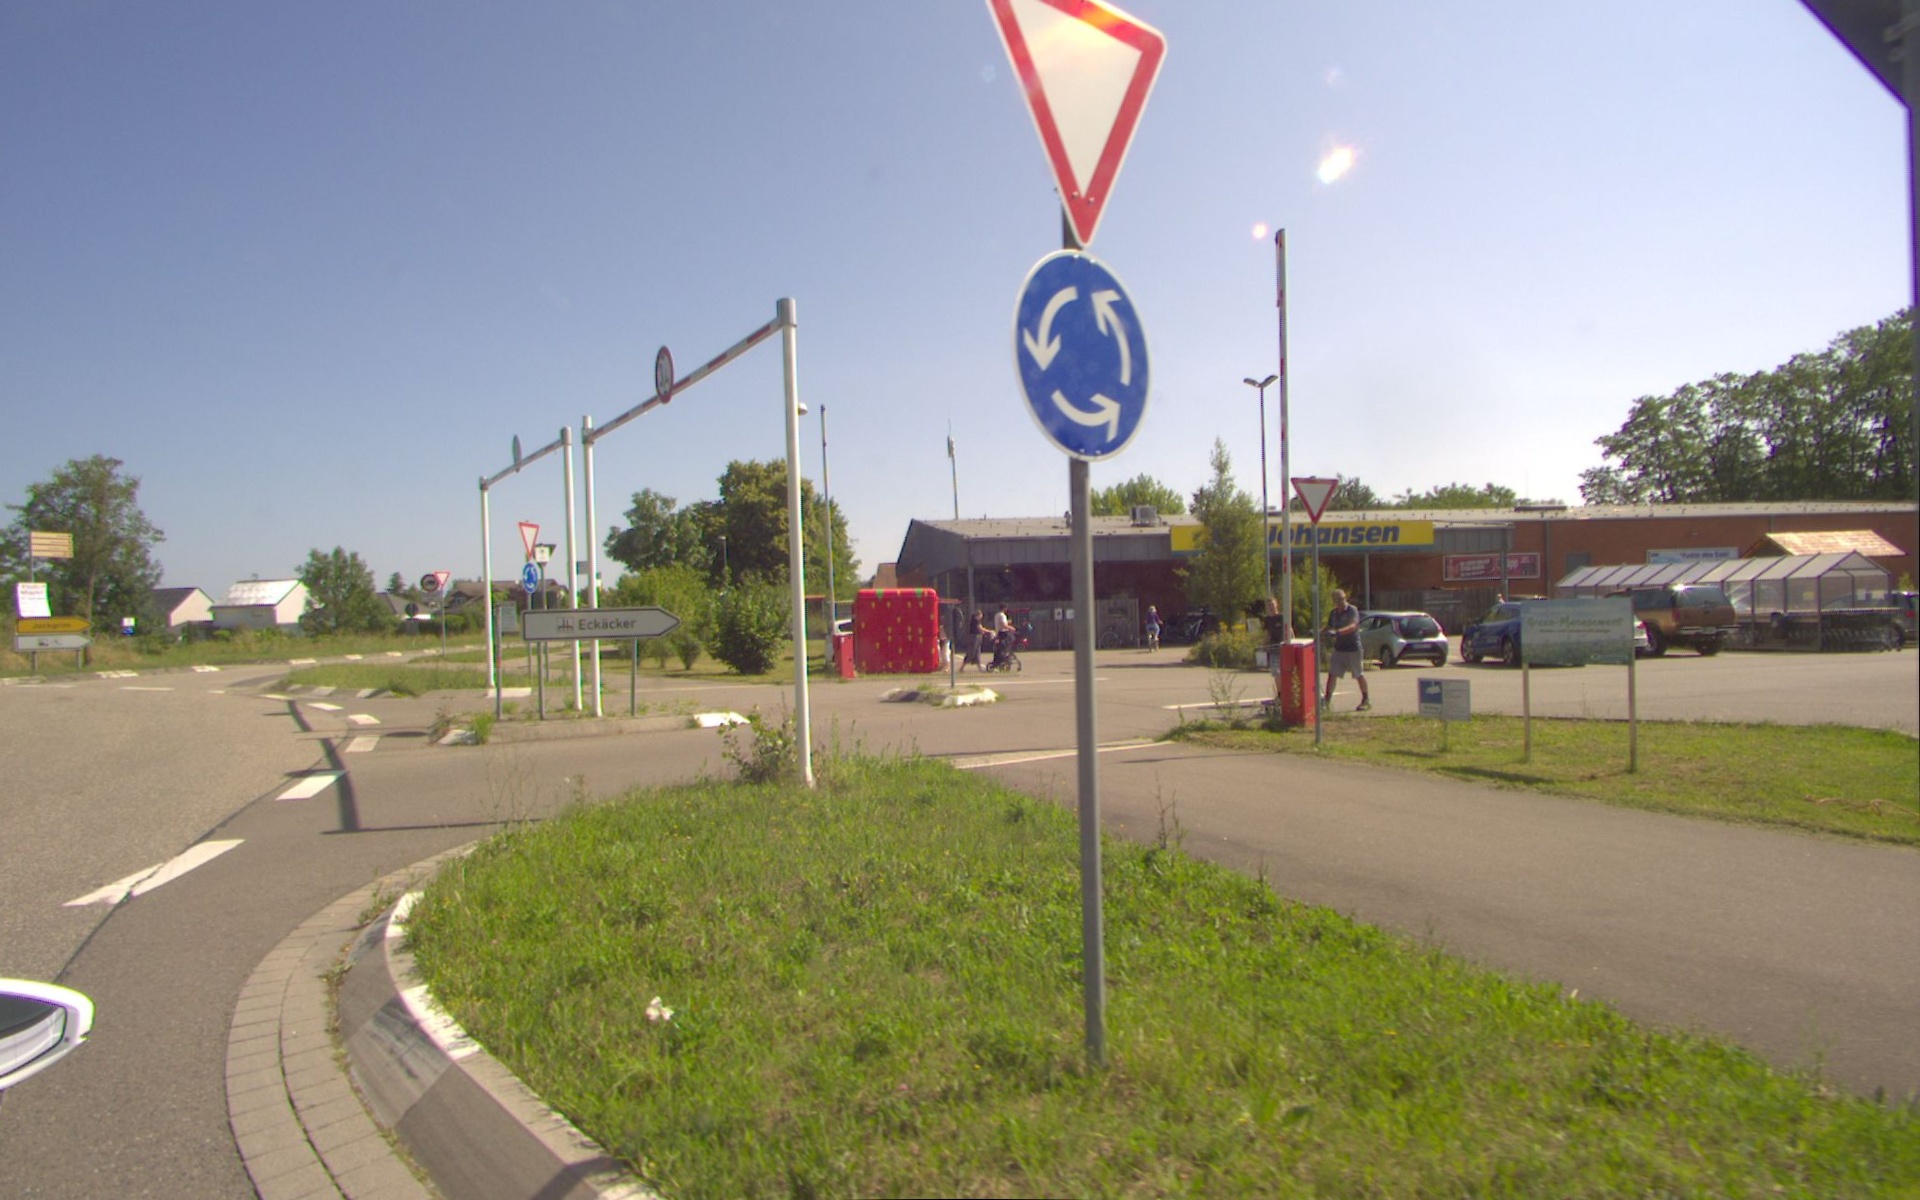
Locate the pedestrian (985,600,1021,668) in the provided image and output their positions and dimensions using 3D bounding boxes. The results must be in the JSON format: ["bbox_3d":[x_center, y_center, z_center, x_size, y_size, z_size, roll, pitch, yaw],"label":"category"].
[{"bbox_3d":[1.216,0.969,28.390,0.825,1.896,0.773,-1,0,16],"label":"pedestrian"}]

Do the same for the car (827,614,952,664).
[{"bbox_3d":[-2.142,1.160,30.561,3.698,1.465,1.725,0,0,-4],"label":"car"}]

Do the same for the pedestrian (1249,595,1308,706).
[{"bbox_3d":[4.952,0.771,15.563,0.695,1.670,0.591,-1,0,40],"label":"pedestrian"}]

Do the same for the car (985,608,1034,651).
[{"bbox_3d":[1.955,1.159,39.687,1.794,1.657,1.130,-1,0,-6],"label":"car"}]

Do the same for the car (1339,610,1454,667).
[{"bbox_3d":[12.031,1.023,27.821,1.683,1.477,3.493,-1,-1,1],"label":"car"}]

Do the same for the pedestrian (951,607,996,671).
[{"bbox_3d":[0.352,1.015,26.459,0.912,1.640,0.811,-1,0,-28],"label":"pedestrian"}]

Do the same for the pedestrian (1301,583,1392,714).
[{"bbox_3d":[5.541,0.675,14.397,0.829,1.809,0.877,-1,0,-25],"label":"pedestrian"}]

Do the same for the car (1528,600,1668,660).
[{"bbox_3d":[17.621,0.806,27.851,1.683,1.517,3.493,-1,-1,1],"label":"car"}]

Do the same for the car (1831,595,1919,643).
[{"bbox_3d":[29.114,0.555,30.188,1.962,1.394,3.999,-1,-1,-8],"label":"car"}]

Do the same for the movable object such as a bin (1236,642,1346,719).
[{"bbox_3d":[4.616,1.104,13.977,1.185,0.967,0.877,-1,0,-26],"label":"movable object such as a bin"}]

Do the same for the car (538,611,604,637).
[{"bbox_3d":[-24.967,1.517,64.447,1.887,1.452,4.912,-4,-1,5],"label":"car"}]

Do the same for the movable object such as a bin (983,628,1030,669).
[{"bbox_3d":[1.244,1.288,26.896,1.024,1.060,0.765,-1,0,-27],"label":"movable object such as a bin"}]

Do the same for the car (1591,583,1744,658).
[{"bbox_3d":[19.823,0.572,28.255,1.842,1.954,3.493,-1,-1,1],"label":"car"}]

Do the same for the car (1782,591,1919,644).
[{"bbox_3d":[26.681,0.503,29.168,1.944,1.438,3.999,-1,-1,-7],"label":"car"}]

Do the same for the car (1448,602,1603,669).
[{"bbox_3d":[14.533,0.875,26.051,1.683,1.592,4.428,-1,-1,3],"label":"car"}]

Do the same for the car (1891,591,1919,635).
[{"bbox_3d":[31.430,0.377,30.771,1.682,1.416,3.999,-1,-1,-7],"label":"car"}]

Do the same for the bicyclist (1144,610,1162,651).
[{"bbox_3d":[7.223,1.134,37.435,0.596,1.535,0.677,-1,0,12],"label":"bicyclist"}]

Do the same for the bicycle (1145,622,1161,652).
[{"bbox_3d":[7.262,1.386,37.598,0.543,1.055,2.074,-1,0,12],"label":"bicycle"}]
